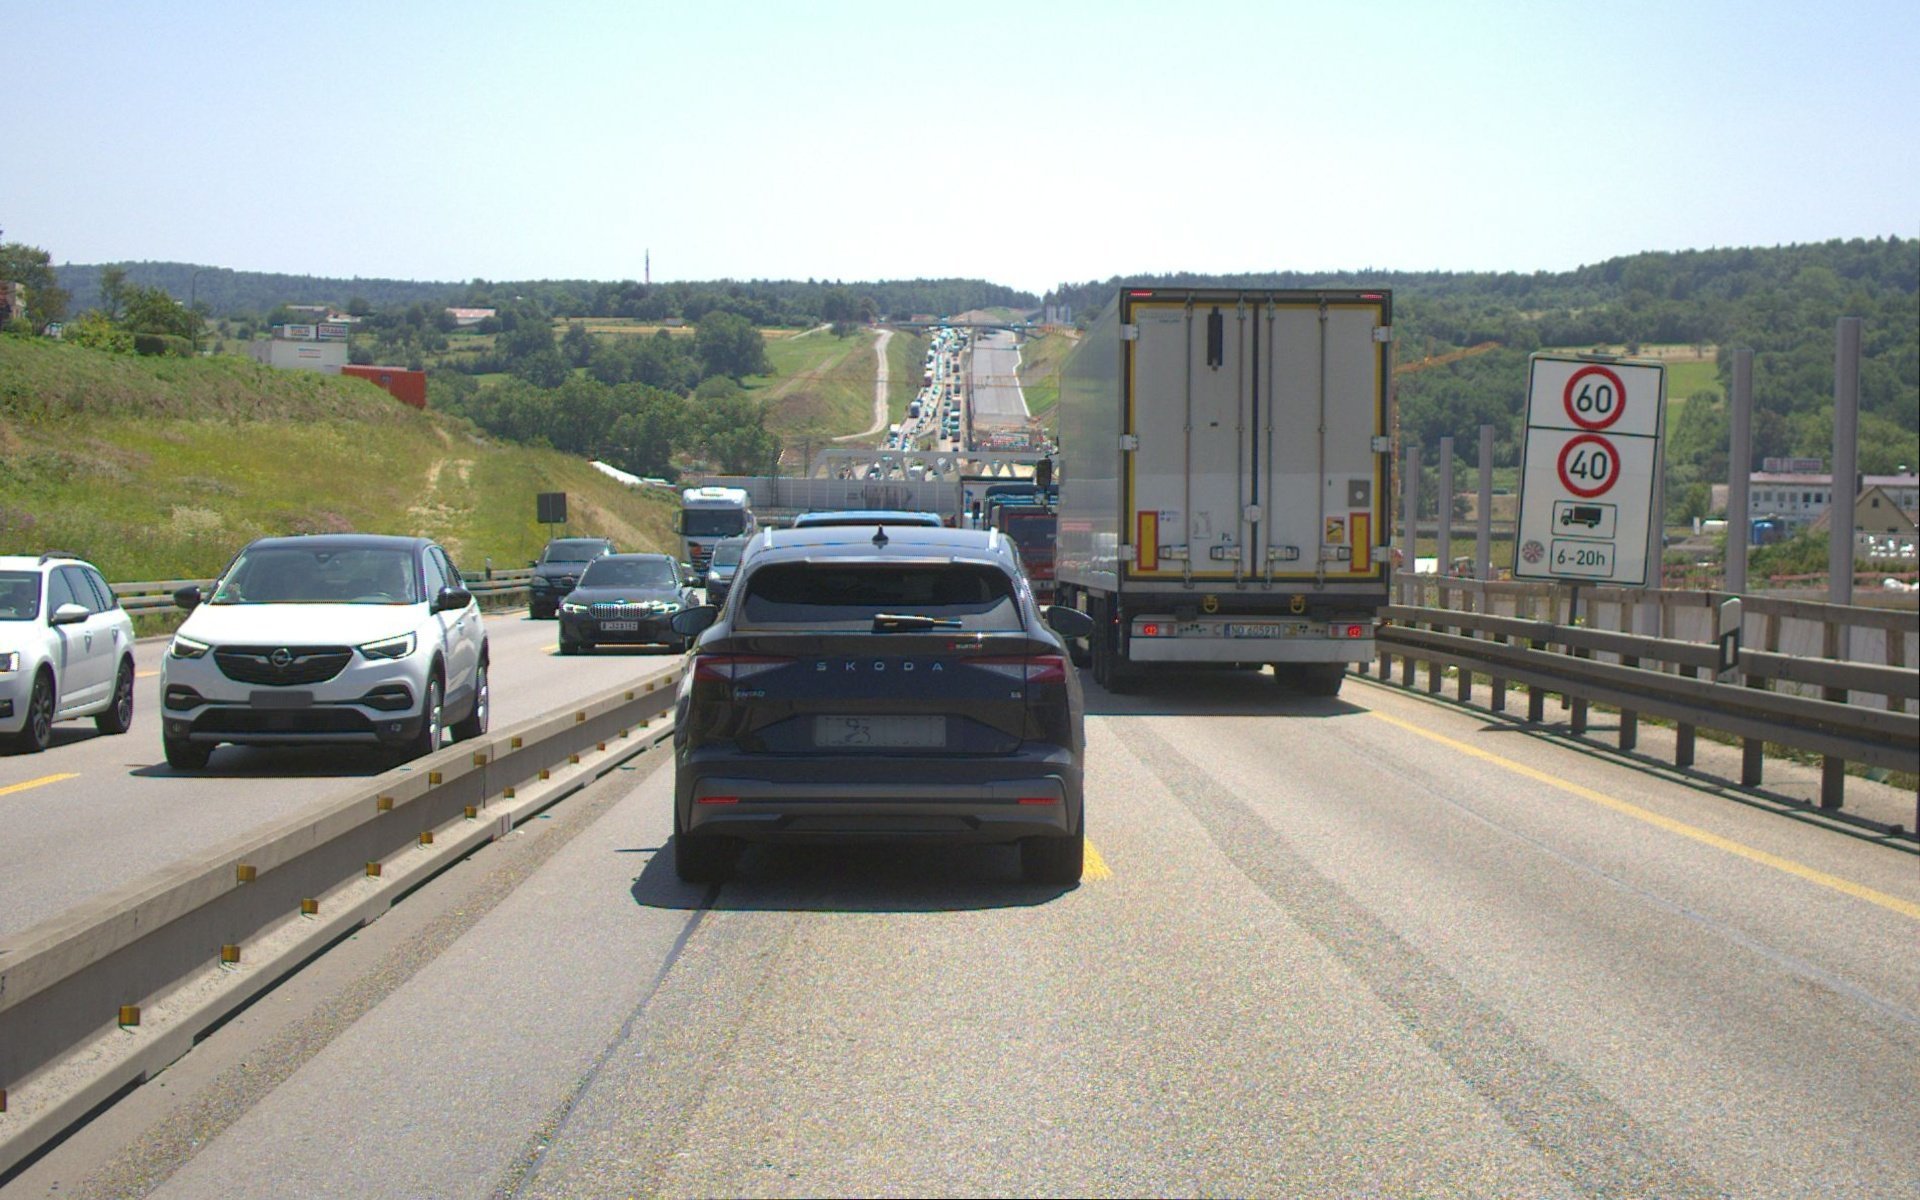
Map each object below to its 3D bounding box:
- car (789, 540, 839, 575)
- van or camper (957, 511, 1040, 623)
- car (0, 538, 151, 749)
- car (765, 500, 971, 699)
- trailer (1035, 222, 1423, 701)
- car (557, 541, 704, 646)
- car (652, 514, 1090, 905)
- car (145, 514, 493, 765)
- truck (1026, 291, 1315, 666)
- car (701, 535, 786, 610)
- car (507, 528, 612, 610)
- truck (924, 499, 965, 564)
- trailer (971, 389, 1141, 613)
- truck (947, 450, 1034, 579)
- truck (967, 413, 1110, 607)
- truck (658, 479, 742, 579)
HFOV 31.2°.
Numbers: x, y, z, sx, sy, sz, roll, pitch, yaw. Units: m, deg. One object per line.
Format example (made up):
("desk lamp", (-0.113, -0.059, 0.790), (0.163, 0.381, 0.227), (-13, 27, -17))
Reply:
("car", (-6.141, -1.808, 144.922), (1.895, 1.409, 4.679), (0, 1, 0))
("van or camper", (1.192, -0.944, 103.498), (2.389, 3.269, 6.468), (0, 0, 1))
("car", (-7.637, 0.273, 26.545), (1.804, 1.492, 4.600), (0, 1, -2))
("car", (-0.929, 0.002, 35.698), (1.993, 1.919, 4.508), (0, 0, -1))
("trailer", (2.686, -1.453, 39.050), (3.180, 4.497, 13.109), (0, 1, -1))
("car", (-4.838, -0.123, 51.001), (1.798, 1.461, 4.355), (-1, 1, -1))
("car", (-0.368, 0.441, 16.229), (1.802, 1.602, 4.000), (0, 0, 0))
("car", (-4.464, 0.225, 24.520), (1.806, 1.634, 4.172), (0, 1, -1))
("truck", (2.617, -1.555, 45.550), (3.180, 4.497, 8.166), (0, 1, -1))
("car", (-5.243, -0.685, 83.622), (1.846, 1.771, 4.882), (0, 1, -1))
("car", (-8.770, -0.698, 75.630), (1.828, 1.760, 4.497), (0, 1, -1))
("truck", (-1.077, -4.577, 231.472), (2.640, 4.179, 9.284), (0, 0, -1))
("trailer", (1.960, -1.979, 77.144), (3.180, 4.498, 14.967), (0, 0, -1))
("truck", (1.059, -3.081, 128.413), (2.852, 4.450, 11.918), (0, 0, -1))
("truck", (1.840, -2.088, 84.195), (3.180, 4.498, 8.165), (0, 0, -1))
("truck", (-9.789, -2.684, 129.811), (2.779, 3.660, 6.278), (0, 1, -1))
